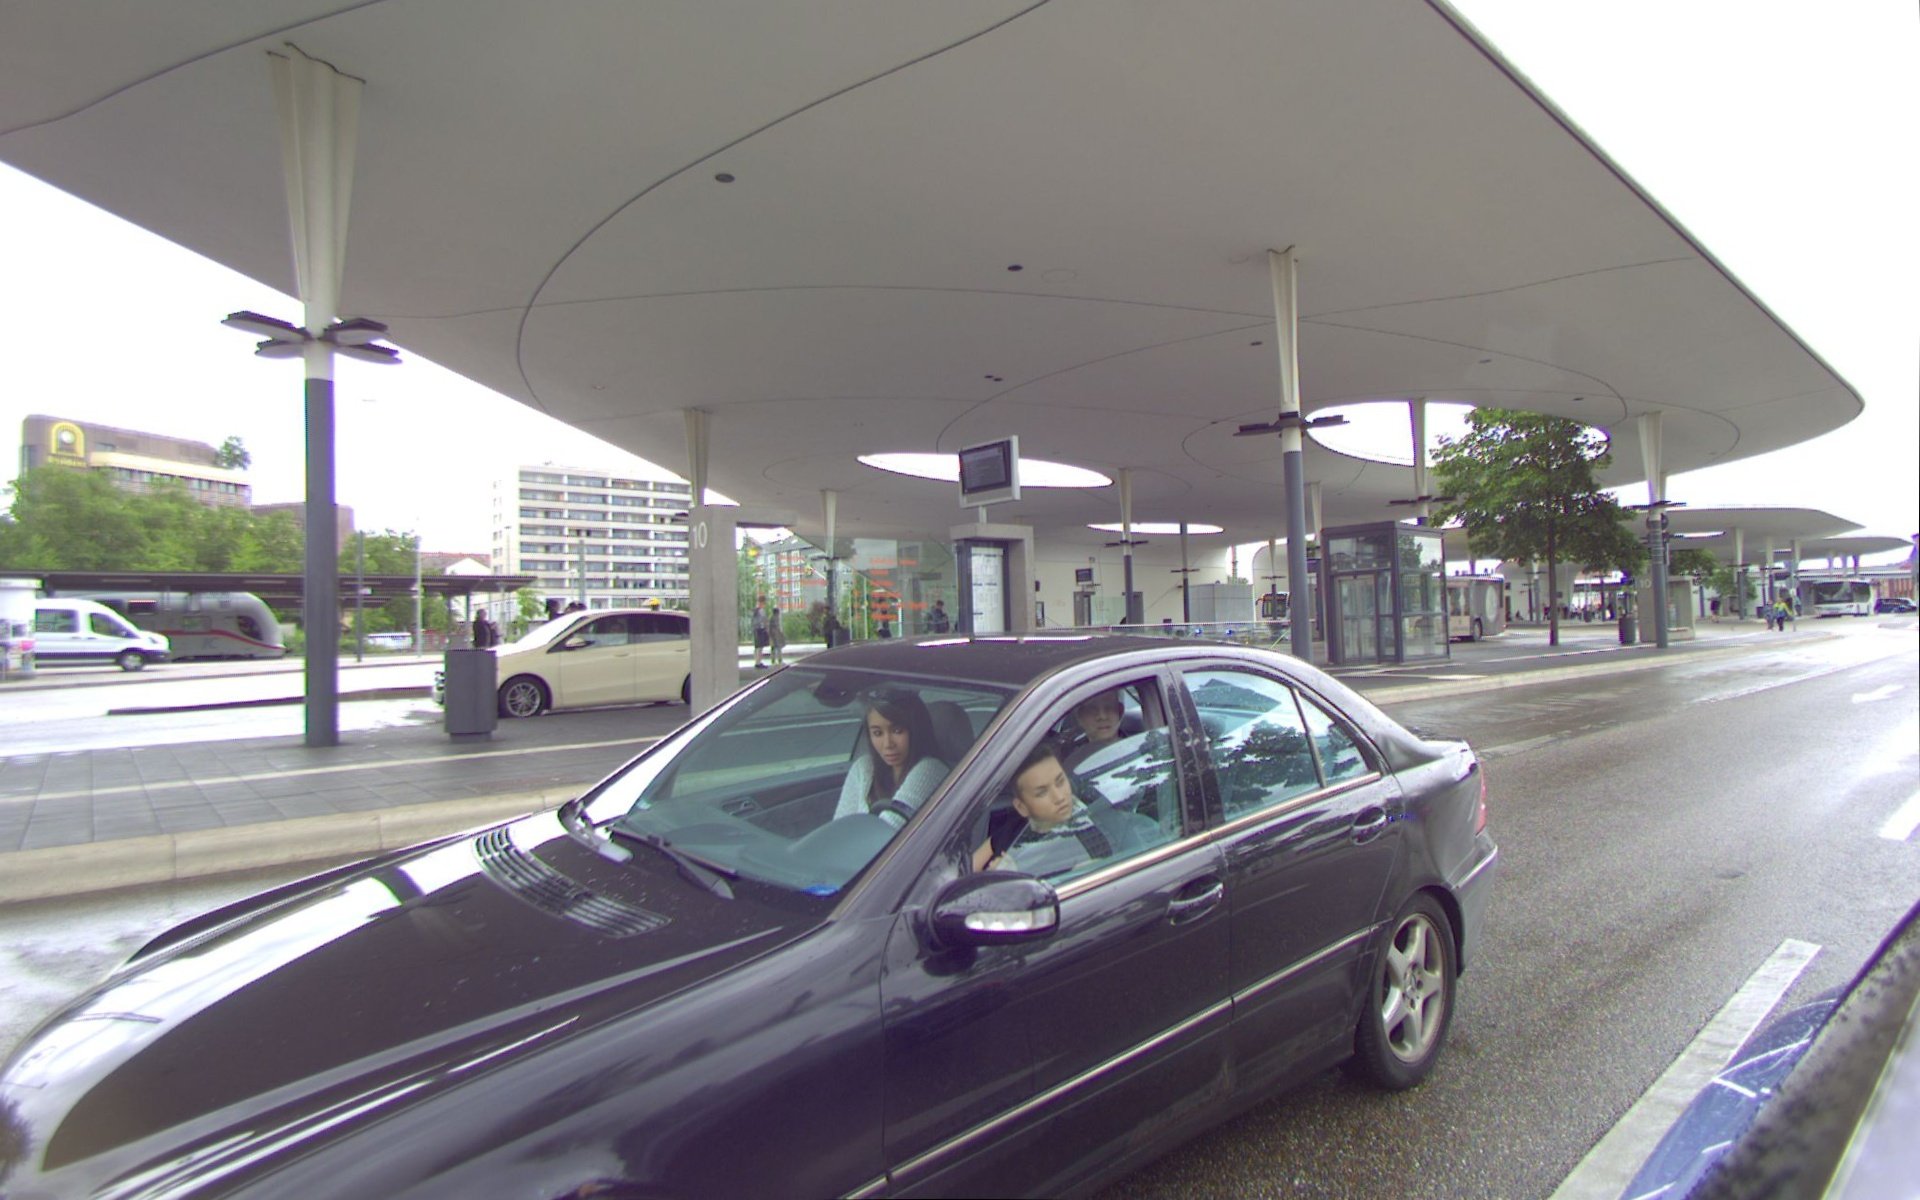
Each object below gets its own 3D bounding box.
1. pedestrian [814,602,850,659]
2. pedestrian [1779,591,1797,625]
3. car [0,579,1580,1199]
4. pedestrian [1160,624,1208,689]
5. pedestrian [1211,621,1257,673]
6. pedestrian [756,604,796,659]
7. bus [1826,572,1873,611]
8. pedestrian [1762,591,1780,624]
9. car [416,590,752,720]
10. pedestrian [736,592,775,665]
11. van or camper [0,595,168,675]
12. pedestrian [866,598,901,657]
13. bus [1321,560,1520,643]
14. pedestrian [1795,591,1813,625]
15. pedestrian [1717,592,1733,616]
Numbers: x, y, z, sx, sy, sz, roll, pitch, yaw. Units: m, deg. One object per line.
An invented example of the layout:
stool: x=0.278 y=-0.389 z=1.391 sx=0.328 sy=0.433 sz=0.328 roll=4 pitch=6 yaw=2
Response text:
pedestrian: x=-3.792 y=0.896 z=30.034 sx=0.646 sy=1.654 sz=0.854 roll=-1 pitch=-1 yaw=43
pedestrian: x=40.469 y=0.381 z=49.445 sx=0.543 sy=1.645 sz=0.556 roll=0 pitch=-1 yaw=-41
car: x=0.060 y=0.816 z=3.046 sx=4.359 sy=1.499 sz=1.747 roll=-2 pitch=-4 yaw=-41
pedestrian: x=4.564 y=1.141 z=20.638 sx=0.657 sy=1.268 sz=0.692 roll=0 pitch=-1 yaw=-41
pedestrian: x=5.351 y=0.902 z=19.781 sx=0.626 sy=0.974 sz=0.622 roll=0 pitch=-1 yaw=-41
pedestrian: x=-5.142 y=0.862 z=28.235 sx=0.732 sy=1.497 sz=0.825 roll=-1 pitch=-1 yaw=43
bus: x=75.383 y=-0.676 z=85.706 sx=2.666 sy=3.169 sz=9.565 roll=-1 pitch=-1 yaw=43
pedestrian: x=40.033 y=0.369 z=49.948 sx=0.577 sy=1.645 sz=0.576 roll=0 pitch=-1 yaw=-41
car: x=-5.507 y=0.749 z=15.138 sx=4.356 sy=1.671 sz=1.803 roll=0 pitch=-3 yaw=-41
pedestrian: x=-4.921 y=0.672 z=24.371 sx=0.680 sy=1.728 sz=0.658 roll=0 pitch=-1 yaw=-40
van or camper: x=-29.772 y=1.103 z=33.232 sx=5.868 sy=2.495 sz=2.106 roll=0 pitch=-1 yaw=-41
pedestrian: x=-2.043 y=0.721 z=26.975 sx=0.680 sy=1.564 sz=0.658 roll=0 pitch=-1 yaw=-40
bus: x=20.108 y=0.052 z=43.584 sx=12.139 sy=3.146 sz=3.000 roll=0 pitch=-1 yaw=-41
pedestrian: x=40.821 y=0.381 z=48.953 sx=0.543 sy=1.645 sz=0.556 roll=0 pitch=-1 yaw=-41
pedestrian: x=54.210 y=0.289 z=71.725 sx=0.740 sy=1.651 sz=0.723 roll=0 pitch=-1 yaw=-41
